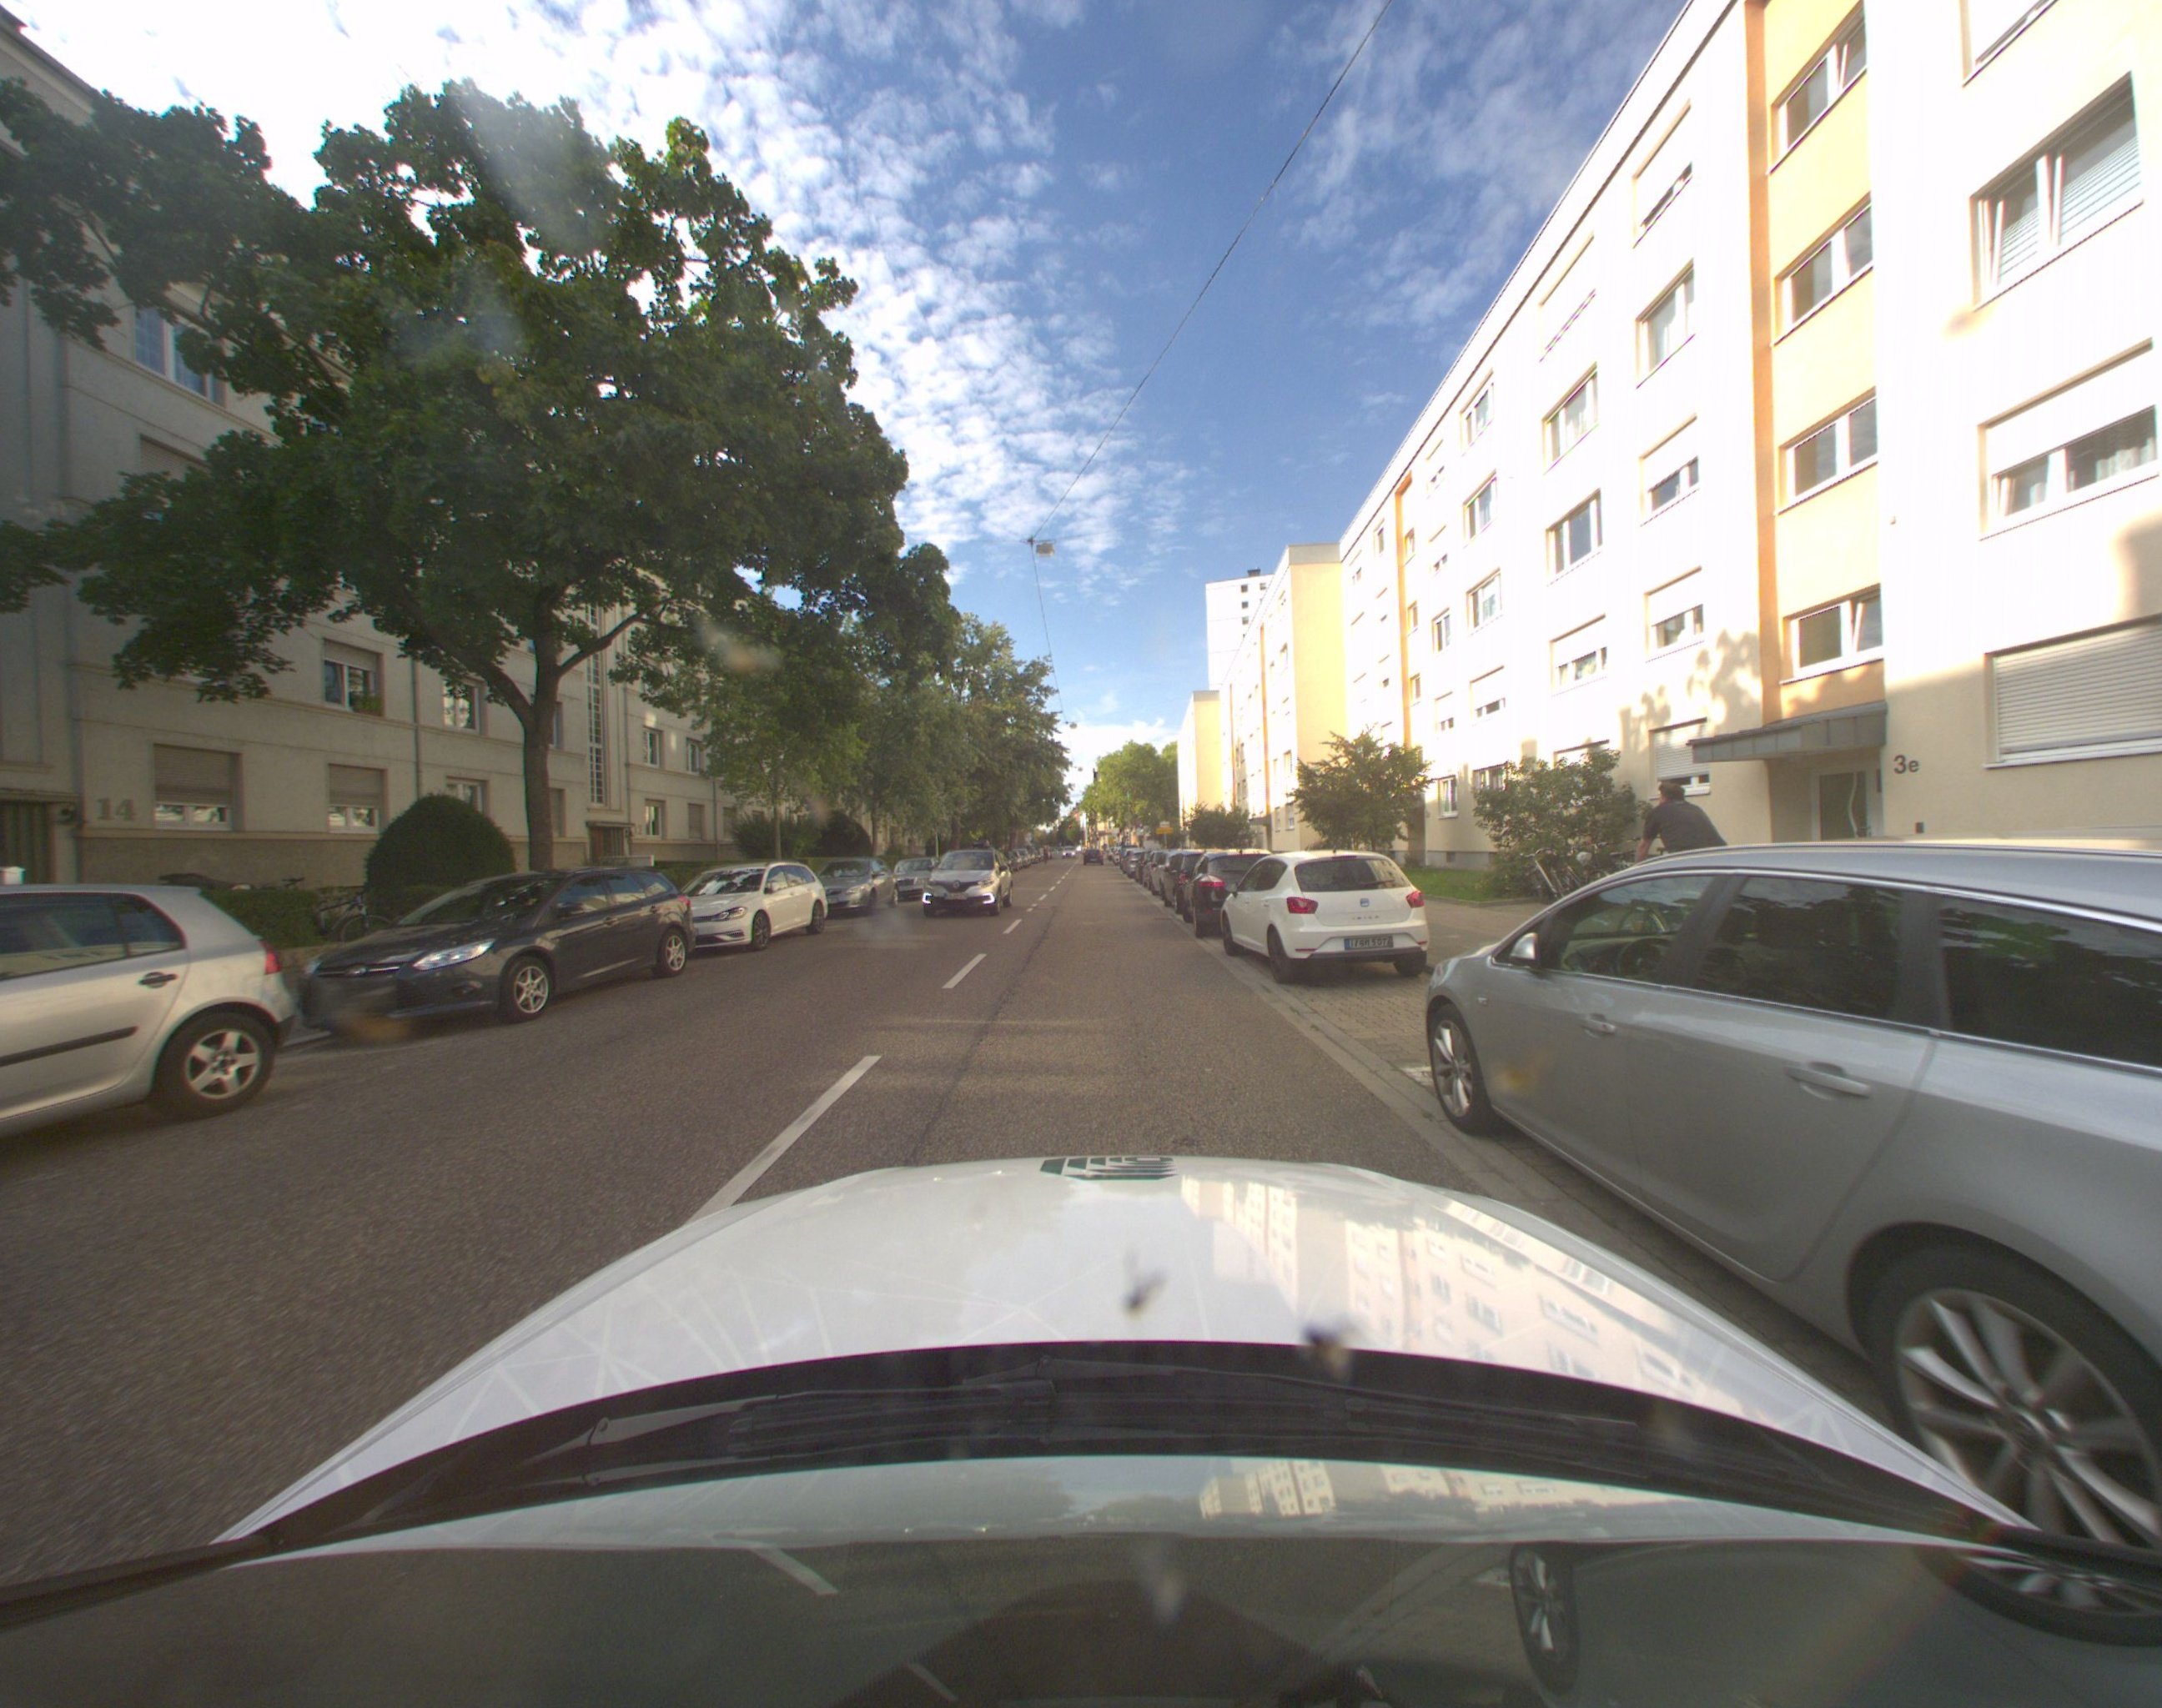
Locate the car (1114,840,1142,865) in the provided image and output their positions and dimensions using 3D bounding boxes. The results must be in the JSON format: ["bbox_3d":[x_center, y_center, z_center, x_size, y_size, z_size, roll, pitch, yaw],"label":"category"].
[{"bbox_3d":[3.368,-0.104,58.845,1.723,1.649,4.116,-3,0,0],"label":"car"}]

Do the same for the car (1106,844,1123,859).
[{"bbox_3d":[3.728,-0.280,89.445,1.683,1.528,4.241,-3,0,3],"label":"car"}]

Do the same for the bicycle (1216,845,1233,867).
[{"bbox_3d":[9.223,0.118,52.262,0.602,1.291,2.636,-3,0,1],"label":"bicycle"}]

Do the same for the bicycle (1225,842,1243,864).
[{"bbox_3d":[9.819,-0.075,52.239,0.593,1.291,2.636,-5,0,1],"label":"bicycle"}]

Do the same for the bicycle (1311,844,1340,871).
[{"bbox_3d":[10.007,0.142,33.374,0.500,1.030,2.096,-4,0,1],"label":"bicycle"}]

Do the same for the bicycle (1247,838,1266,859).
[{"bbox_3d":[11.257,-0.333,52.302,0.724,1.291,2.636,-1,0,1],"label":"bicycle"}]

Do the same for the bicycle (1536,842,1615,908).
[{"bbox_3d":[9.138,0.379,15.103,0.443,1.137,1.591,-3,-1,1],"label":"bicycle"}]

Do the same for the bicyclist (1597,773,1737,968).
[{"bbox_3d":[5.385,0.139,7.536,0.621,1.678,0.893,-2,0,0],"label":"bicyclist"}]

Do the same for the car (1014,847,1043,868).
[{"bbox_3d":[-4.177,0.234,65.704,1.607,1.468,4.019,-7,0,5],"label":"car"}]

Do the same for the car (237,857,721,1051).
[{"bbox_3d":[-6.074,0.845,9.160,1.849,1.486,4.684,-2,1,1],"label":"car"}]

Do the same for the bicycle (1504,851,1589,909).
[{"bbox_3d":[8.582,0.473,15.099,0.594,0.998,1.692,-1,-1,1],"label":"bicycle"}]

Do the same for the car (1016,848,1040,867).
[{"bbox_3d":[-5.175,0.283,79.473,1.792,1.668,4.484,-4,1,2],"label":"car"}]

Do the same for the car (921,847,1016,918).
[{"bbox_3d":[-2.655,0.615,20.093,1.734,1.501,4.009,-2,0,0],"label":"car"}]

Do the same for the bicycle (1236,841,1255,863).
[{"bbox_3d":[10.540,-0.133,52.241,0.724,1.291,2.636,-3,0,1],"label":"bicycle"}]

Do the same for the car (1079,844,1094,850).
[{"bbox_3d":[1.434,-2.044,230.374,3.983,1.420,1.996,-2,1,-7],"label":"car"}]

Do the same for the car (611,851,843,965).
[{"bbox_3d":[-5.982,0.803,14.547,1.849,1.486,4.799,-5,1,1],"label":"car"}]

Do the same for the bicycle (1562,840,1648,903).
[{"bbox_3d":[9.690,0.316,15.125,0.520,1.074,1.591,-3,-1,0],"label":"bicycle"}]

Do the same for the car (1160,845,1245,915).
[{"bbox_3d":[2.941,0.574,20.400,1.677,1.501,3.877,-3,1,3],"label":"car"}]

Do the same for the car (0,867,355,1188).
[{"bbox_3d":[-6.137,0.922,3.574,1.814,1.486,4.370,-4,1,1],"label":"car"}]

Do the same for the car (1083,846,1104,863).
[{"bbox_3d":[1.093,0.001,71.648,1.746,1.413,3.999,-1,1,0],"label":"car"}]

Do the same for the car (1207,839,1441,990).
[{"bbox_3d":[2.830,0.601,10.482,1.678,1.468,4.205,-3,1,-1],"label":"car"}]

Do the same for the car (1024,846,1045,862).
[{"bbox_3d":[-4.802,-0.046,84.899,1.694,1.486,3.849,-4,1,2],"label":"car"}]

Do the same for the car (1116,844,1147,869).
[{"bbox_3d":[3.298,0.145,54.084,1.723,1.461,4.116,-3,0,0],"label":"car"}]

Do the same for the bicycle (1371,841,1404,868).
[{"bbox_3d":[12.484,0.000,33.221,0.499,1.030,2.135,-5,0,2],"label":"bicycle"}]

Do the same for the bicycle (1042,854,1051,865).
[{"bbox_3d":[-3.058,0.458,72.877,0.640,0.923,1.858,-2,0,1],"label":"bicycle"}]

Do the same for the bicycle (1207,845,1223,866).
[{"bbox_3d":[8.587,0.087,52.247,0.602,1.291,2.636,-2,0,1],"label":"bicycle"}]

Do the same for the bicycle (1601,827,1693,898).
[{"bbox_3d":[10.400,0.158,15.032,0.520,1.216,1.591,-3,-1,0],"label":"bicycle"}]

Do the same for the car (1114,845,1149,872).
[{"bbox_3d":[3.035,0.239,49.484,1.723,1.515,4.189,-3,0,-1],"label":"car"}]

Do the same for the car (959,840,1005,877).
[{"bbox_3d":[-5.391,0.212,44.980,1.871,1.793,4.969,-4,1,0],"label":"car"}]

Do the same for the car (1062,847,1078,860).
[{"bbox_3d":[-1.440,-0.106,107.553,1.852,1.528,4.012,-2,1,2],"label":"car"}]

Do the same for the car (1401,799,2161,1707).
[{"bbox_3d":[2.717,0.622,2.664,1.756,1.523,4.333,-3,1,3],"label":"car"}]

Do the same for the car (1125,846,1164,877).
[{"bbox_3d":[3.288,0.360,42.731,1.656,1.416,4.059,-3,0,0],"label":"car"}]

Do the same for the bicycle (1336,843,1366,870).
[{"bbox_3d":[11.037,0.084,33.350,0.500,1.030,2.026,-4,0,1],"label":"bicycle"}]

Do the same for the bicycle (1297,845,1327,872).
[{"bbox_3d":[9.414,0.161,33.270,0.591,1.030,2.119,-4,0,1],"label":"bicycle"}]

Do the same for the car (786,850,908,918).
[{"bbox_3d":[-6.065,0.710,21.704,1.850,1.486,4.682,-3,1,-1],"label":"car"}]

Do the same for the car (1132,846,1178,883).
[{"bbox_3d":[3.265,0.422,36.401,1.656,1.491,3.942,-3,0,0],"label":"car"}]

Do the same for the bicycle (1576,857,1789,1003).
[{"bbox_3d":[5.420,0.614,7.504,0.522,1.135,1.929,-2,1,0],"label":"bicycle"}]

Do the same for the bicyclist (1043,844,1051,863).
[{"bbox_3d":[-3.029,-0.061,72.829,0.639,1.600,0.990,-2,0,1],"label":"bicyclist"}]

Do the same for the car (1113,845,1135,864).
[{"bbox_3d":[3.642,-0.003,68.861,1.722,1.487,4.644,-3,0,2],"label":"car"}]

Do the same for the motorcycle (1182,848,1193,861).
[{"bbox_3d":[9.170,0.017,70.427,0.628,1.044,2.393,-1,0,0],"label":"motorcycle"}]

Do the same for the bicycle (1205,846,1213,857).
[{"bbox_3d":[11.043,-0.201,70.404,0.457,0.927,1.517,-3,1,0],"label":"bicycle"}]

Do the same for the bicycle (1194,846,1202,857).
[{"bbox_3d":[10.089,-0.210,70.370,0.457,0.941,1.517,-3,1,0],"label":"bicycle"}]

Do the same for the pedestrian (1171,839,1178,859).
[{"bbox_3d":[8.198,-0.425,71.589,0.539,1.721,0.773,-3,0,6],"label":"pedestrian"}]

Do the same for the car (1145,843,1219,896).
[{"bbox_3d":[3.107,0.435,25.878,1.695,1.463,4.178,-3,1,-1],"label":"car"}]

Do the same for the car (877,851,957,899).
[{"bbox_3d":[-5.634,0.671,28.525,1.733,1.393,4.665,-4,1,0],"label":"car"}]

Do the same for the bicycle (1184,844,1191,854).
[{"bbox_3d":[11.732,-0.579,89.670,0.527,1.114,2.210,-3,1,1],"label":"bicycle"}]

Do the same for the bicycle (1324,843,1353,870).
[{"bbox_3d":[10.525,0.083,33.369,0.500,1.030,2.069,-4,0,1],"label":"bicycle"}]

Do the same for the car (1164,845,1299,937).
[{"bbox_3d":[2.678,0.583,15.427,1.678,1.435,4.205,-3,1,-1],"label":"car"}]

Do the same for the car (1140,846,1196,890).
[{"bbox_3d":[3.266,0.469,31.203,1.678,1.485,4.294,-3,1,1],"label":"car"}]
